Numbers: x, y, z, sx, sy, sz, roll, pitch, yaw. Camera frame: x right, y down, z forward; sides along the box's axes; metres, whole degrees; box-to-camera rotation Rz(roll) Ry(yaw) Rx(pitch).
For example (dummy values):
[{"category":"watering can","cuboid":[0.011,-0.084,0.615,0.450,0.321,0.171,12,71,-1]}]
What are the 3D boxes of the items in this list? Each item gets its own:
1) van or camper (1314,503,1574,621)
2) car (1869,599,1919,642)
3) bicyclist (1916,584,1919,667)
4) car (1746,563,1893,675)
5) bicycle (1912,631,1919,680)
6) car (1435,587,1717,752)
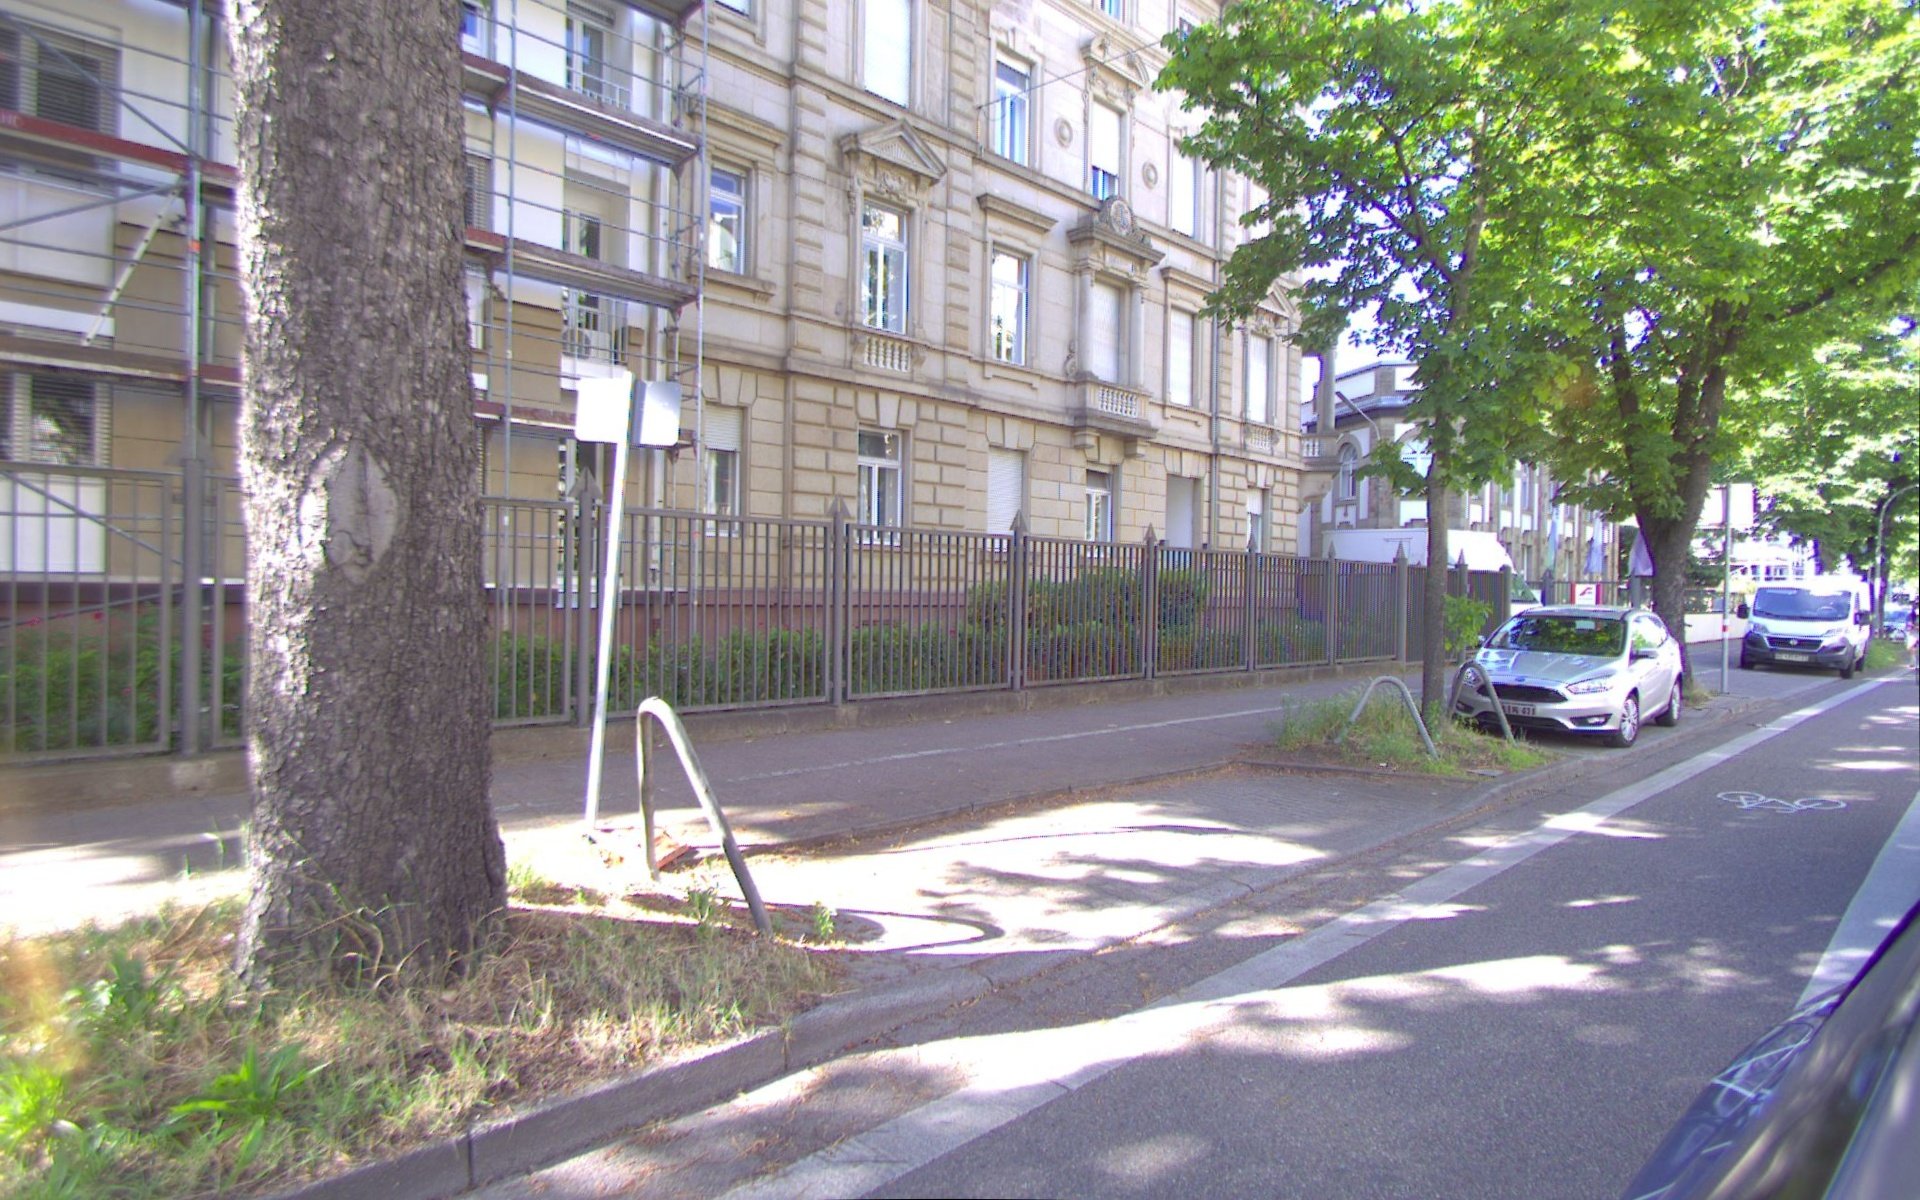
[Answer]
[{"category":"van or camper","cuboid":[12.248,-0.888,26.375,2.078,2.660,6.751,0,0,-17]},{"category":"car","cuboid":[37.432,0.777,40.079,4.035,1.569,1.863,-1,1,-44]},{"category":"bicyclist","cuboid":[19.981,0.522,20.684,0.862,1.691,0.532,0,0,-40]},{"category":"car","cuboid":[20.975,0.353,24.595,5.710,2.371,2.129,-1,3,-44]},{"category":"bicycle","cuboid":[19.953,1.117,20.659,2.020,0.933,0.535,-1,0,-40]},{"category":"car","cuboid":[7.580,0.667,12.266,4.294,1.562,1.874,-1,3,-44]}]
